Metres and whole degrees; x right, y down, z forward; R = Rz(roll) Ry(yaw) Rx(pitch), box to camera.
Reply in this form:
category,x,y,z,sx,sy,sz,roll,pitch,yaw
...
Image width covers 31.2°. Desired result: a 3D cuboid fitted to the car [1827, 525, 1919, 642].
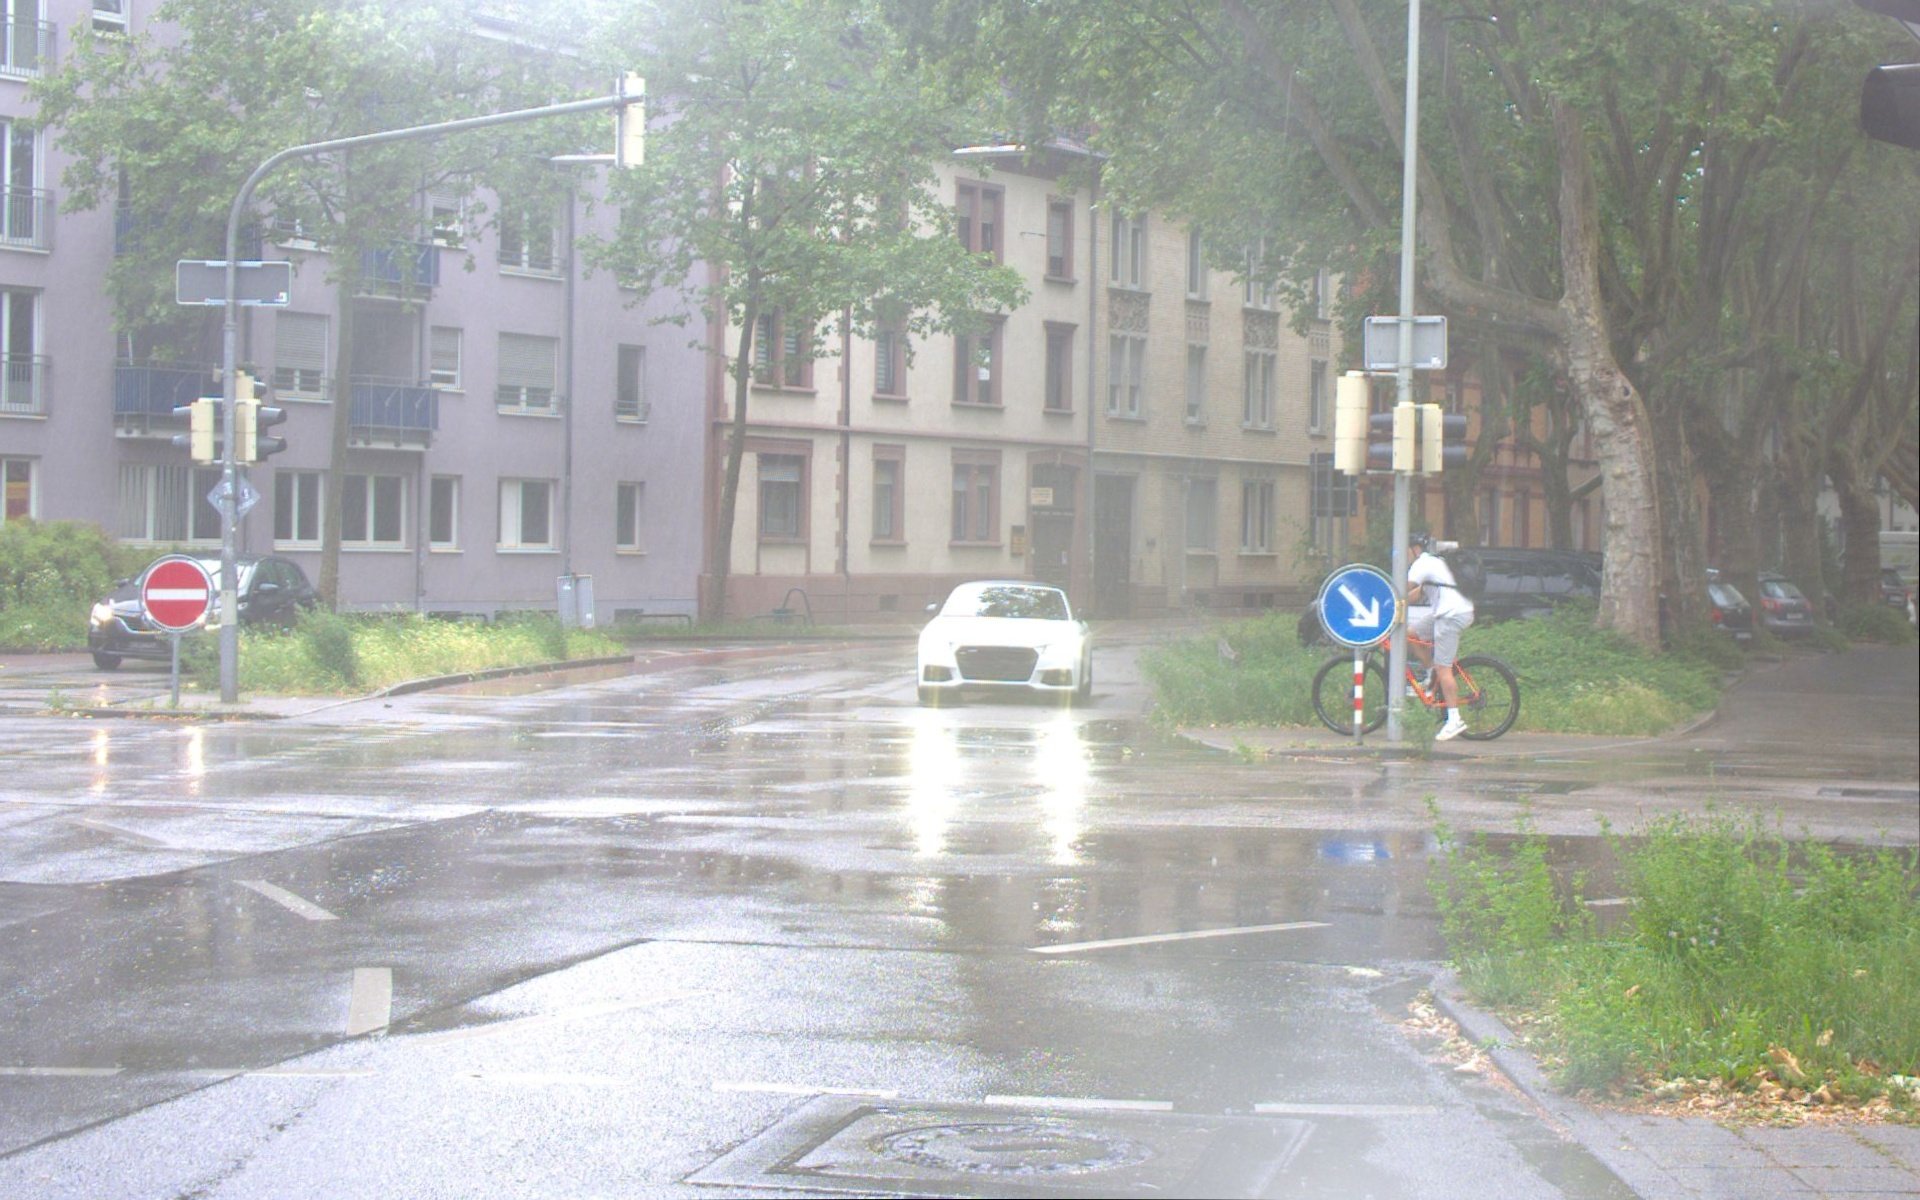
category,x,y,z,sx,sy,sz,roll,pitch,yaw
car,24.394,-0.422,87.714,2.033,2.938,4.773,1,1,-21

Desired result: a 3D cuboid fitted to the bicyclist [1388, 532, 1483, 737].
category,x,y,z,sx,sy,sz,roll,pitch,yaw
bicyclist,4.193,0.294,30.362,0.795,1.780,0.697,1,0,8

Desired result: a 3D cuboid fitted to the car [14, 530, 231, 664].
category,x,y,z,sx,sy,sz,roll,pitch,yaw
car,-10.049,-0.068,41.498,1.751,1.506,3.839,1,1,-2

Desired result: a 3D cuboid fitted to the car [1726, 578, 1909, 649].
category,x,y,z,sx,sy,sz,roll,pitch,yaw
car,19.573,0.301,78.653,3.989,1.542,1.999,1,1,12

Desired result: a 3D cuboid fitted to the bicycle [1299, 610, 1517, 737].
category,x,y,z,sx,sy,sz,roll,pitch,yaw
bicycle,3.955,0.642,30.395,1.873,1.077,0.657,1,0,8

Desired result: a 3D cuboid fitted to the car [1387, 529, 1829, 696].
category,x,y,z,sx,sy,sz,roll,pitch,yaw
car,6.165,0.099,32.703,3.989,1.481,1.999,1,1,12

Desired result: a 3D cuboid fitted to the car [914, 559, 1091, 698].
category,x,y,z,sx,sy,sz,roll,pitch,yaw
car,0.509,0.281,39.115,1.884,1.431,4.000,1,1,2

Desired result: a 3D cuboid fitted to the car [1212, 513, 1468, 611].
category,x,y,z,sx,sy,sz,roll,pitch,yaw
car,6.063,-0.607,54.650,3.868,1.481,1.715,1,0,12

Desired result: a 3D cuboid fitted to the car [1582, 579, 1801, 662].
category,x,y,z,sx,sy,sz,roll,pitch,yaw
car,13.912,0.369,65.406,3.989,1.481,1.999,1,1,12
